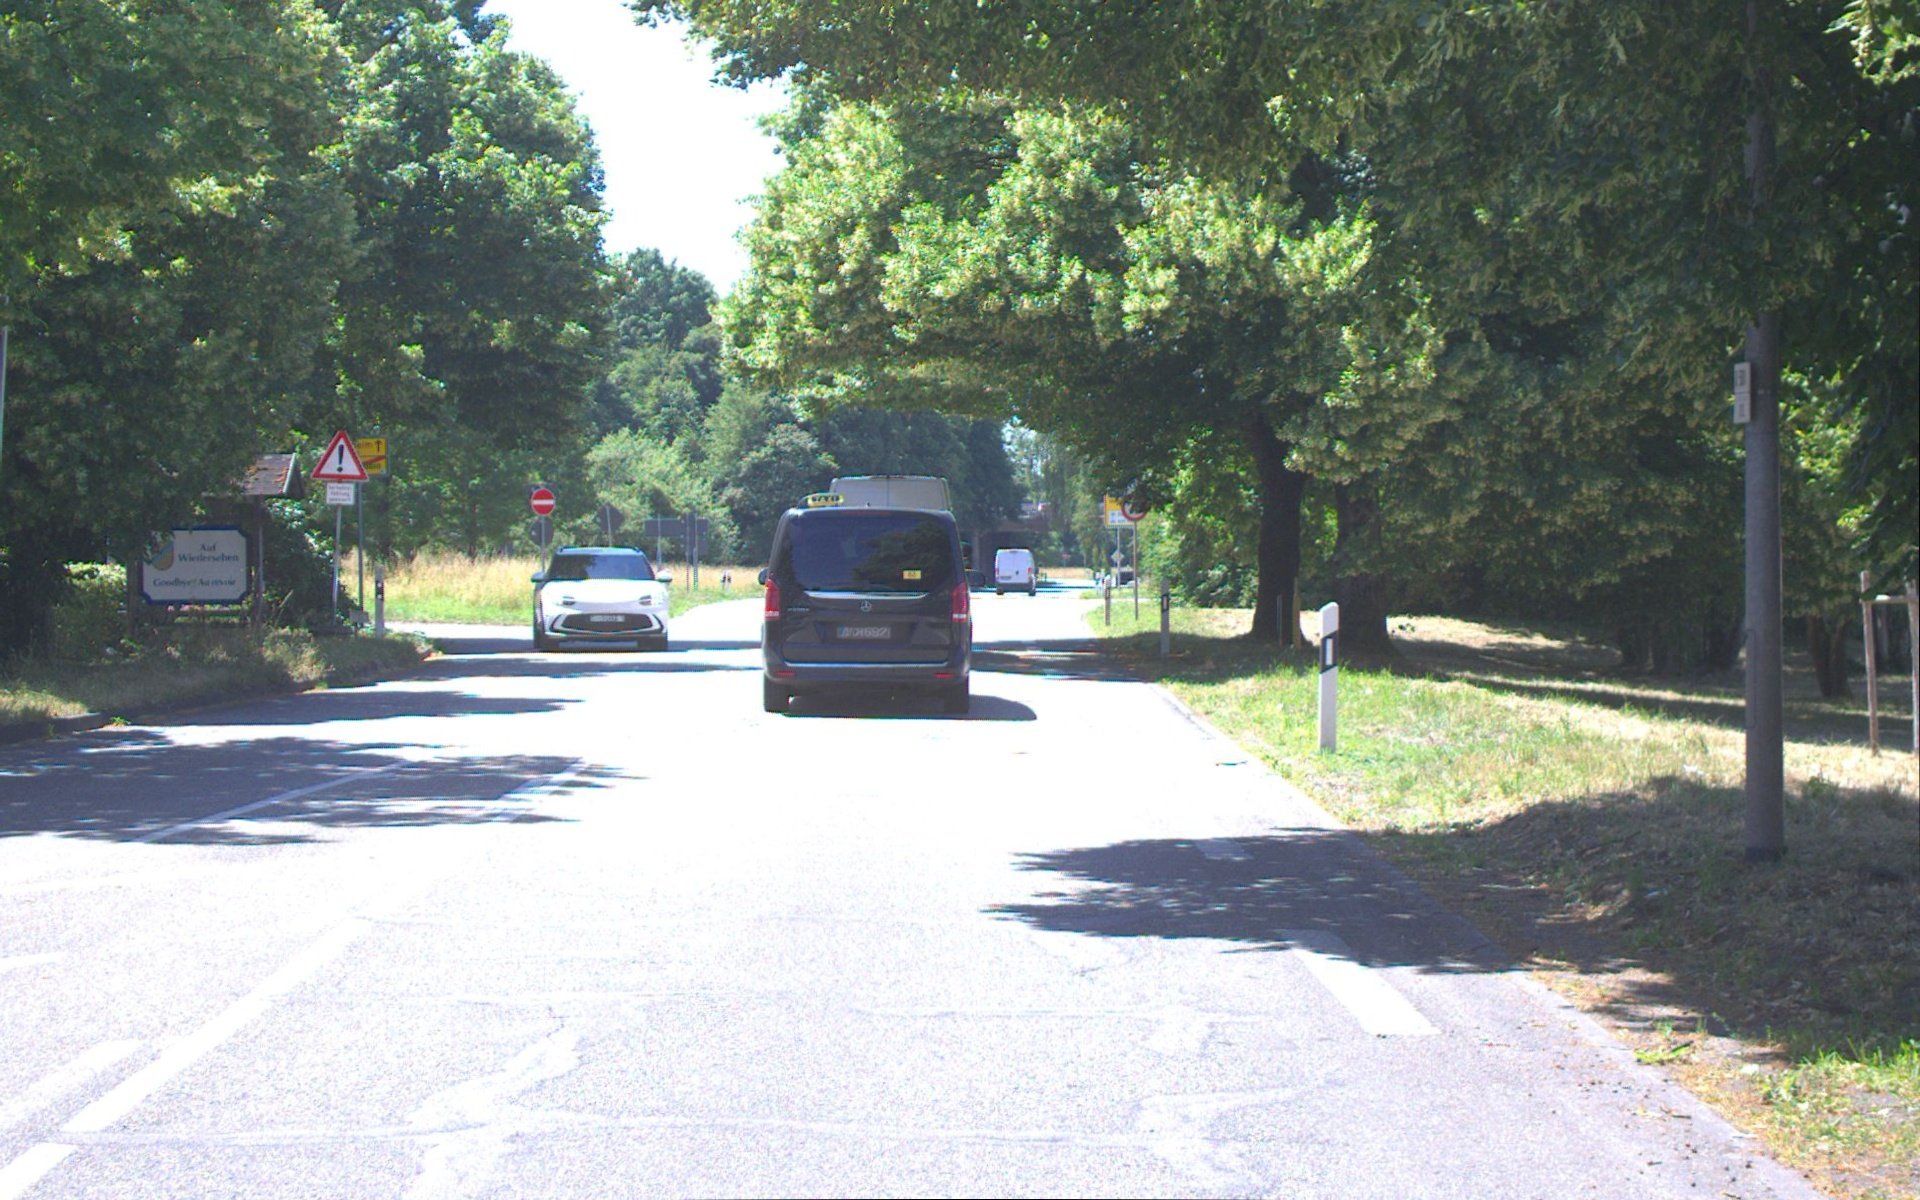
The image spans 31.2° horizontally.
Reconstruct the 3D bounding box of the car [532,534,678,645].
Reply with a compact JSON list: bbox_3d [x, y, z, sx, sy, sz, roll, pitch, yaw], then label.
[{"bbox_3d":[-5.487,-0.184,52.870,2.094,1.583,4.476,1,1,-7],"label":"car"}]

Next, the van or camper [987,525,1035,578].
[{"bbox_3d":[2.859,-2.732,194.305,2.632,2.919,5.207,1,1,0],"label":"van or camper"}]

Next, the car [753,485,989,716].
[{"bbox_3d":[-0.800,-0.031,32.368,1.993,1.946,5.005,2,1,-1],"label":"car"}]

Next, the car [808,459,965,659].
[{"bbox_3d":[-1.116,-0.596,49.653,2.078,2.693,4.667,2,1,-3],"label":"car"}]
